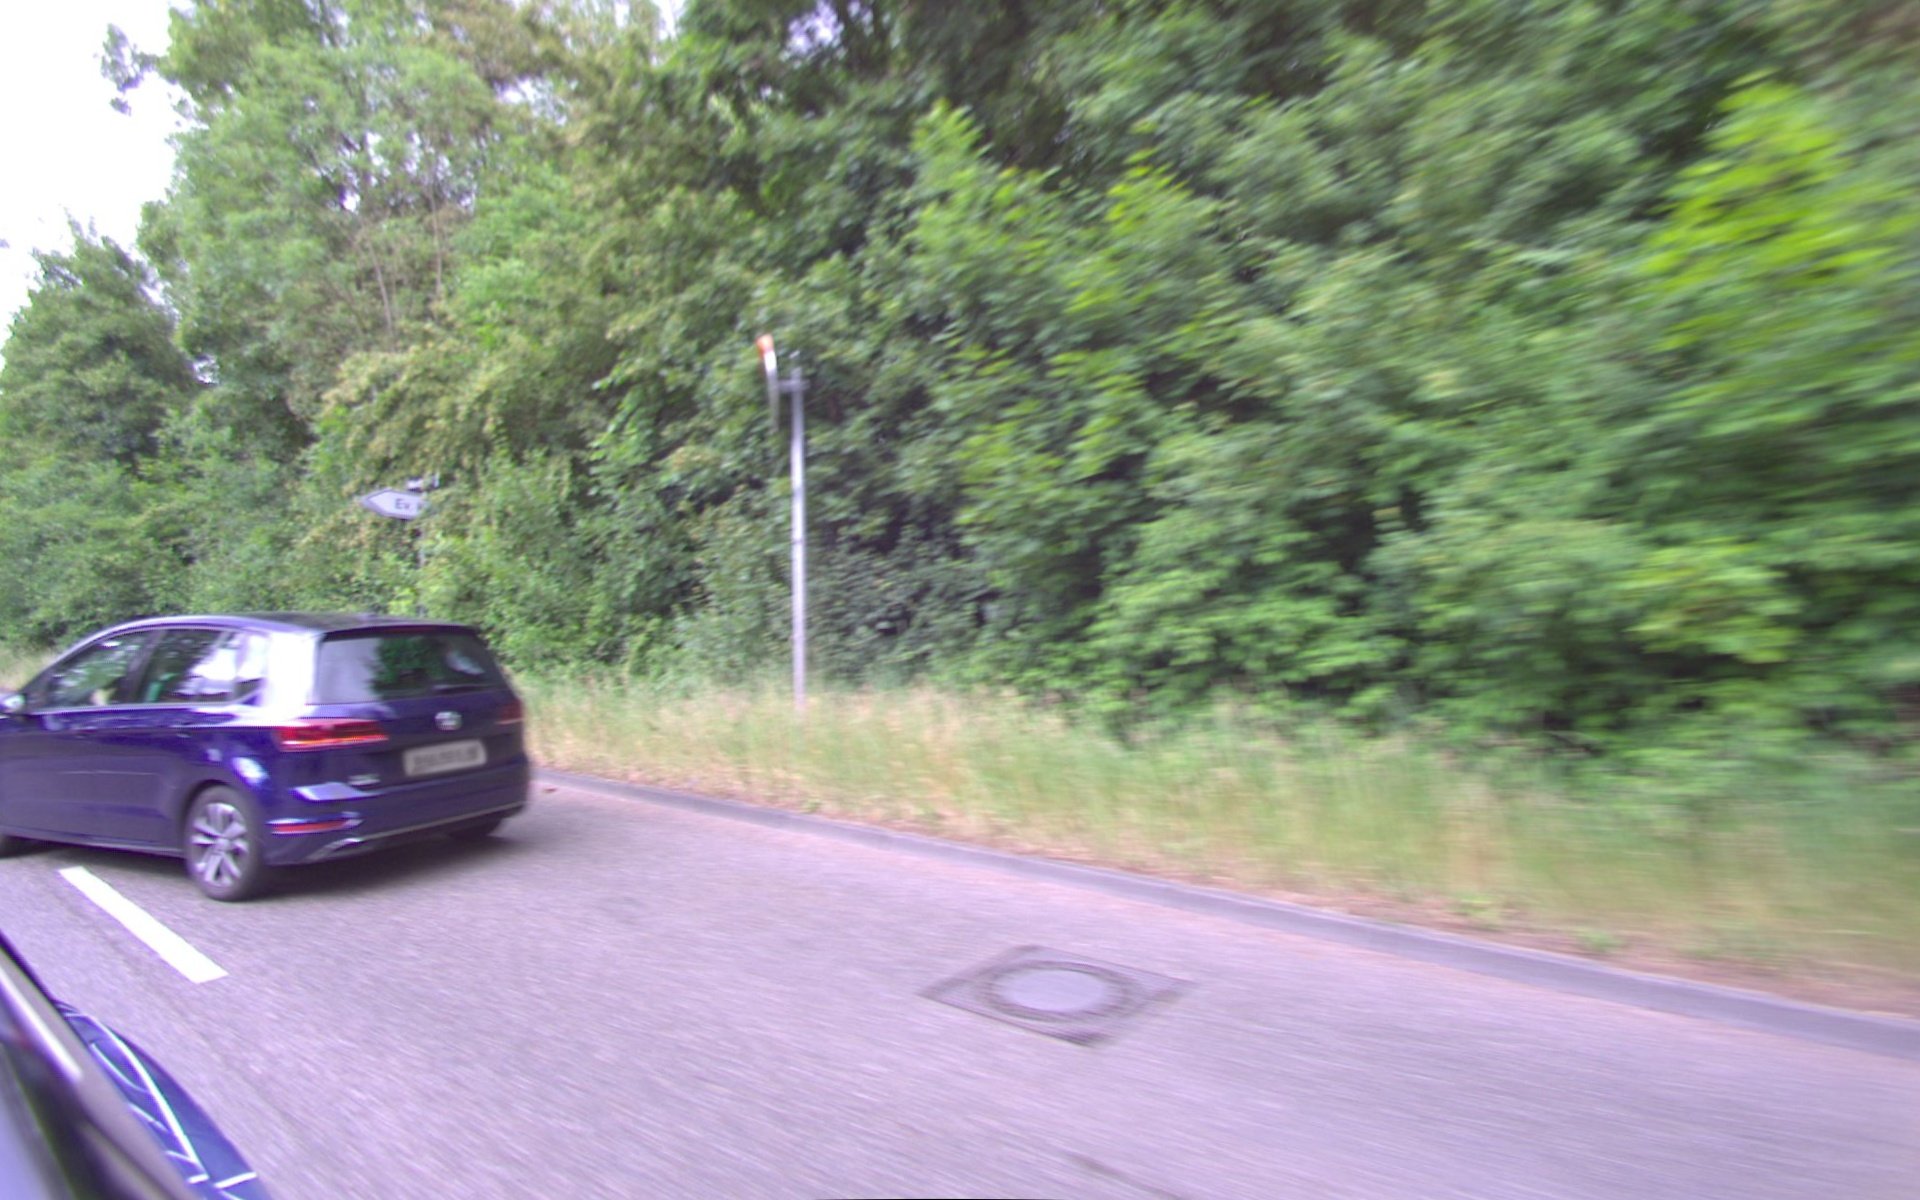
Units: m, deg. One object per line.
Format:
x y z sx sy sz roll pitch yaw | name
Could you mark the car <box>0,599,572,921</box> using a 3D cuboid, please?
-5.003 0.760 6.703 4.816 1.526 1.779 0 0 26 | car
